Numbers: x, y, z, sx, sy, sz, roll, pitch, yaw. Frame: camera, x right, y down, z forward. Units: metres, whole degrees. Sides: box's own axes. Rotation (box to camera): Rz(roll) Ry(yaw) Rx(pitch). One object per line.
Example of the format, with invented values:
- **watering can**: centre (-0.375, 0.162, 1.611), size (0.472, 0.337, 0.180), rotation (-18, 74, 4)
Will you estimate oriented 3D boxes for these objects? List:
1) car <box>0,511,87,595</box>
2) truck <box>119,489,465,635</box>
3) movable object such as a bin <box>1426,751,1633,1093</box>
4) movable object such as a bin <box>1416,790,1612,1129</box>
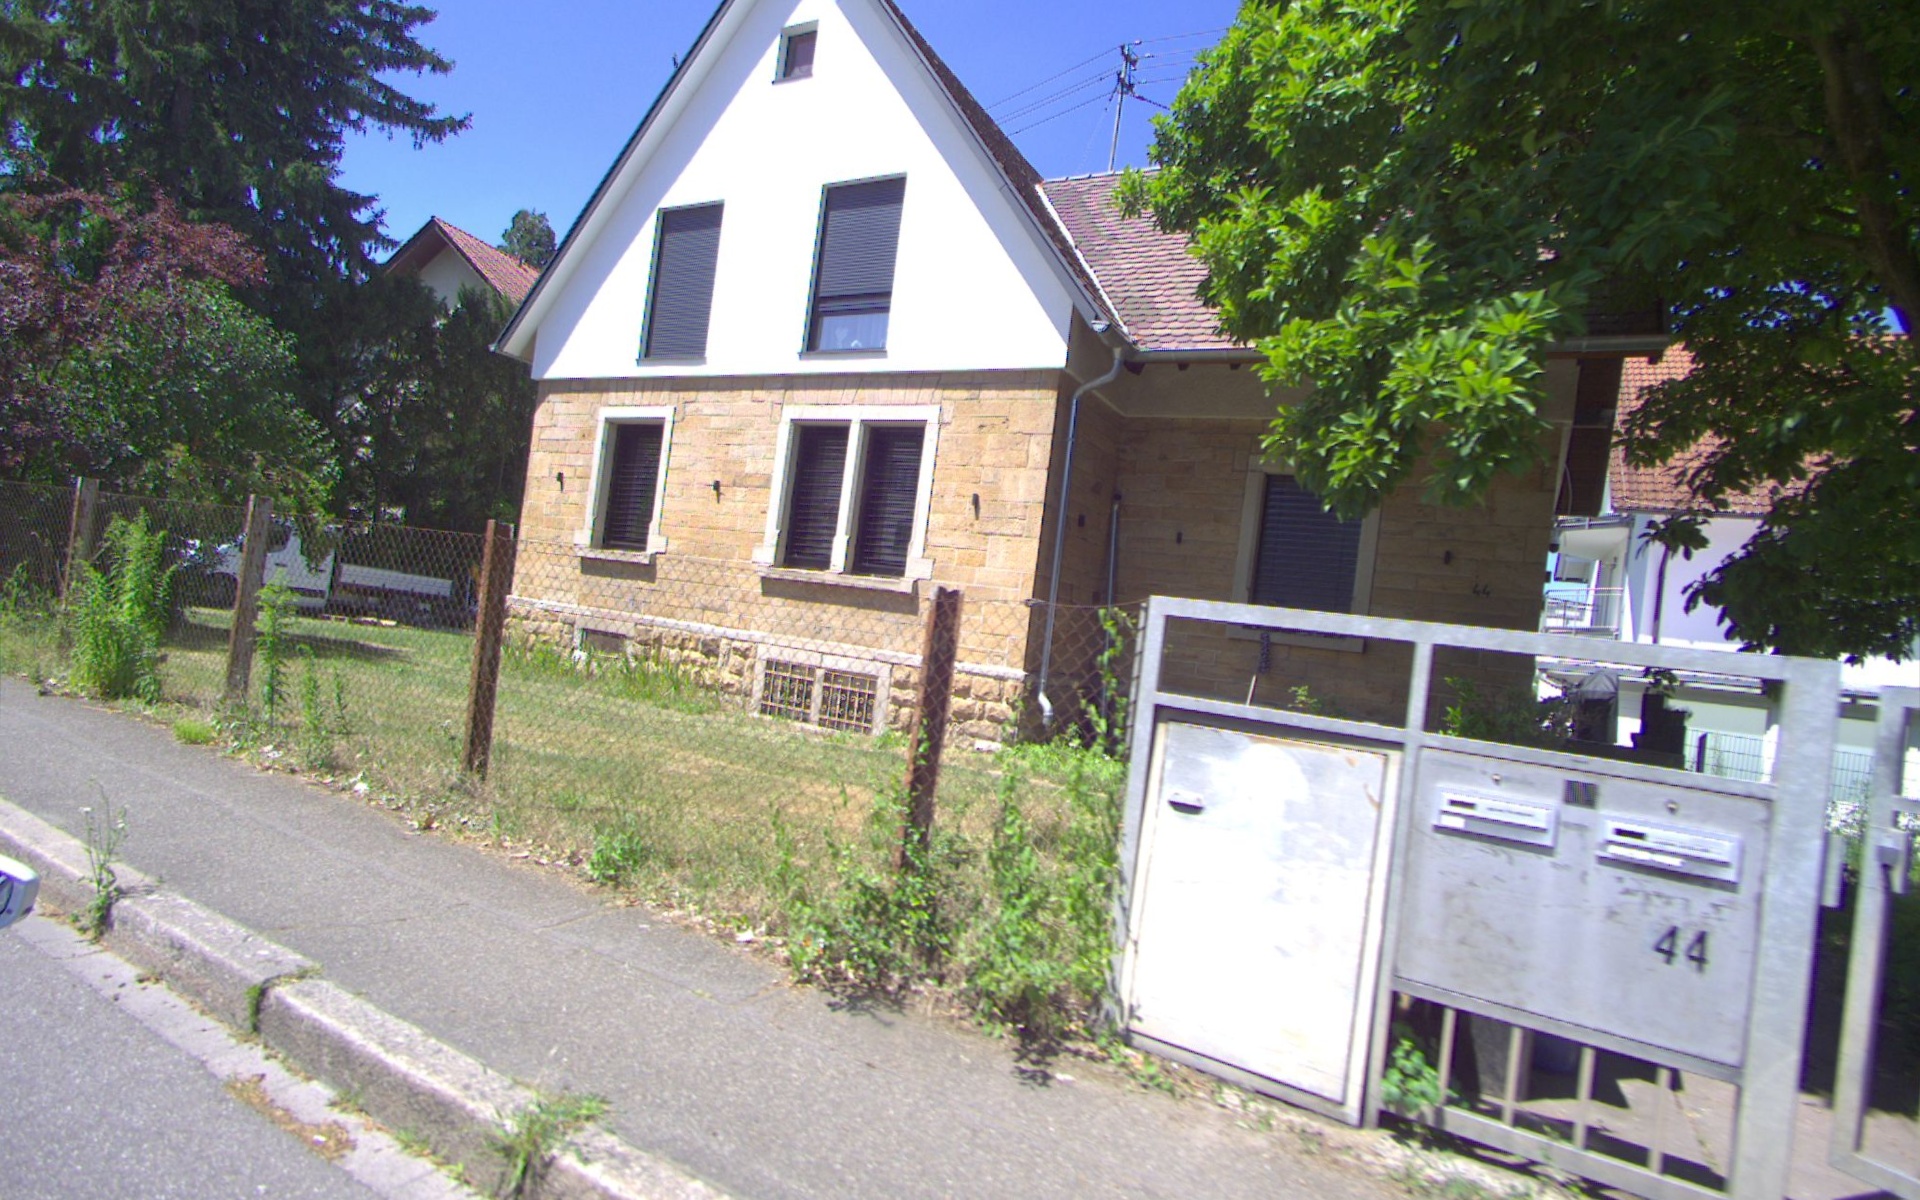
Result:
- **car**: centre (-18.721, -1.094, 18.278), size (1.737, 1.395, 3.872), rotation (7, -3, 31)
- **truck**: centre (-15.538, -0.733, 24.090), size (1.944, 2.190, 6.640), rotation (8, -4, 25)
- **movable object such as a bin**: centre (2.132, 1.155, 3.780), size (0.537, 1.076, 0.400), rotation (7, 0, 32)
- **movable object such as a bin**: centre (1.872, 1.167, 3.403), size (0.456, 0.934, 0.400), rotation (7, 0, 32)
